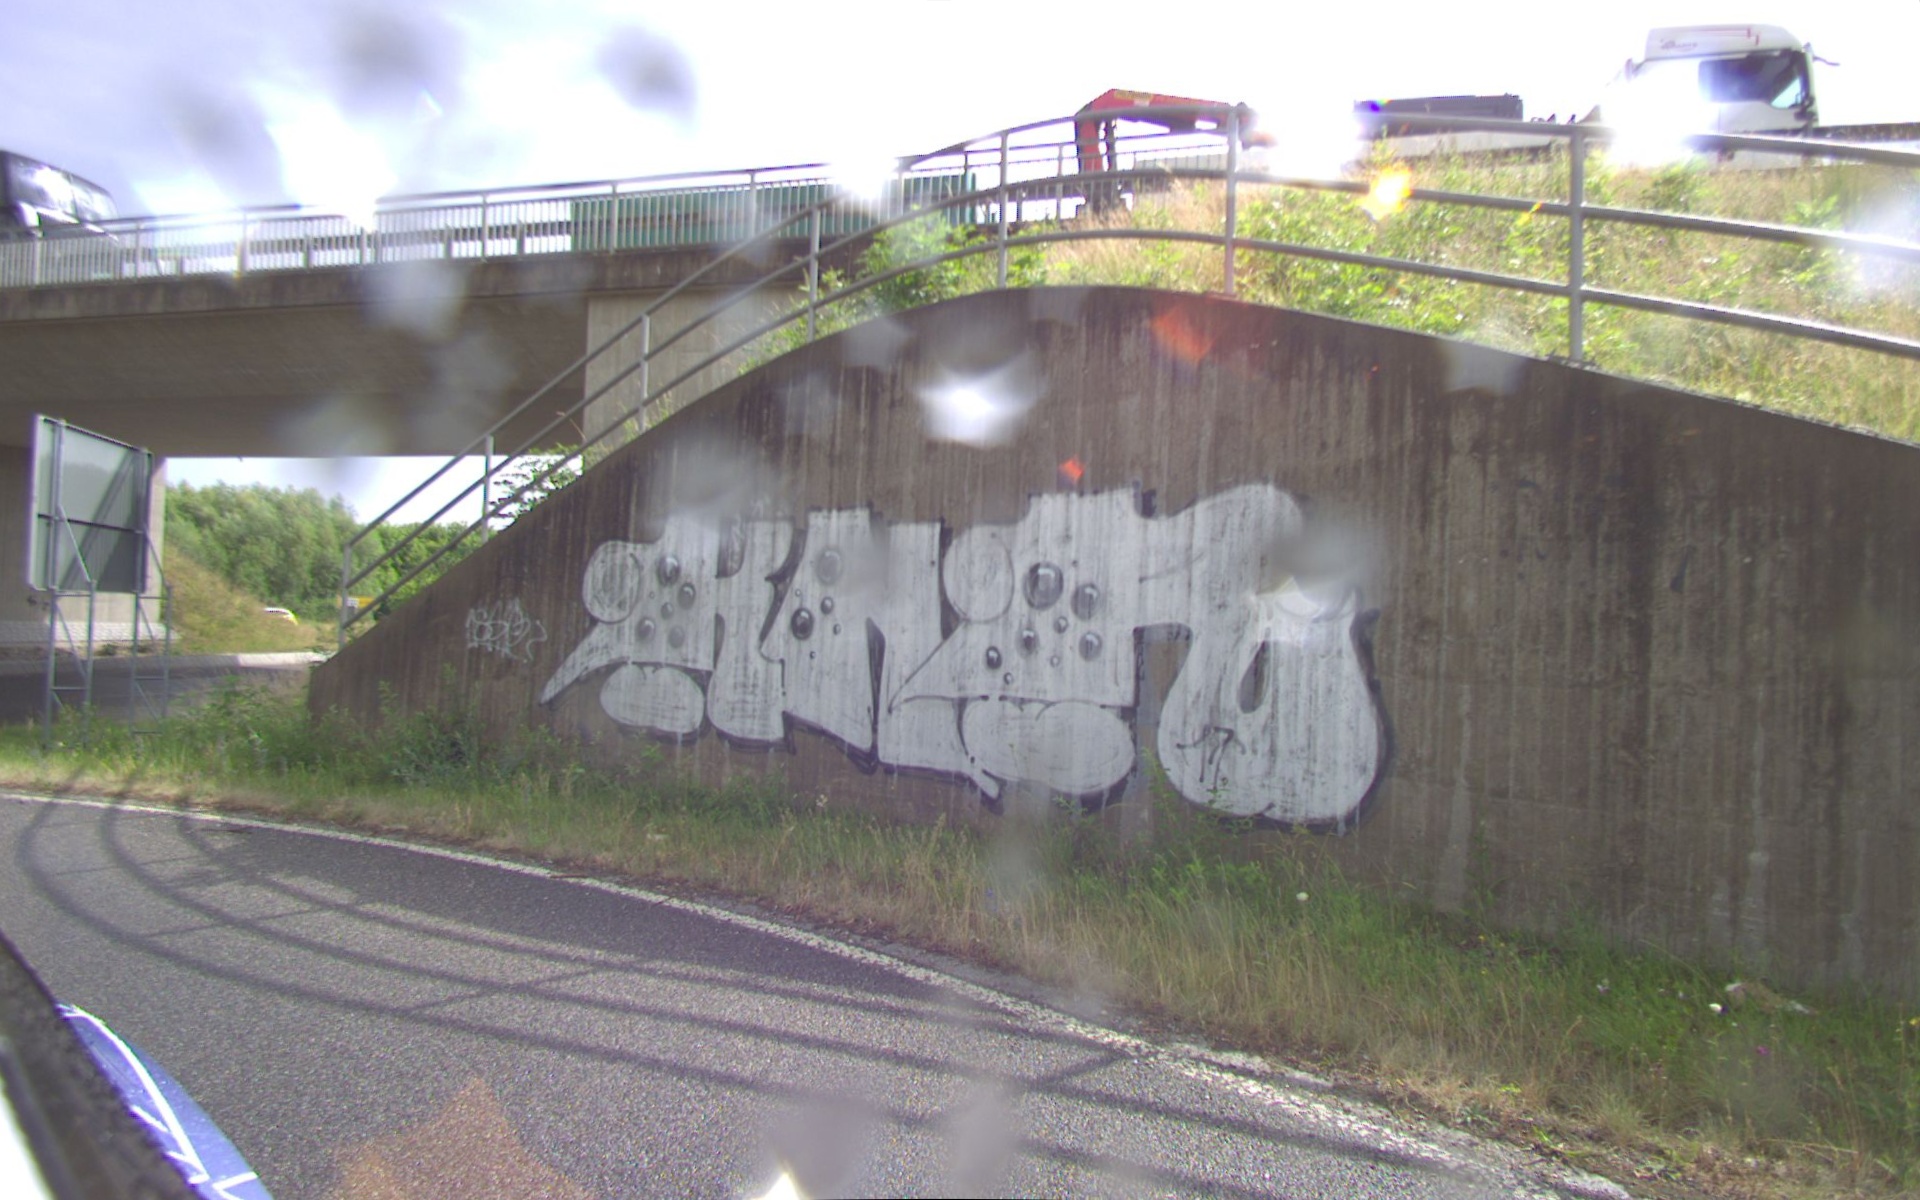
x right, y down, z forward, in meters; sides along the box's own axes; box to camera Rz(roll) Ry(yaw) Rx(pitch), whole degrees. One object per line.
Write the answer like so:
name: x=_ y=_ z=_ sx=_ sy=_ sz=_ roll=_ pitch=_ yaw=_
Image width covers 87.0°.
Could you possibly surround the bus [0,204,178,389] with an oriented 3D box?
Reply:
bus: x=-24.671 y=-6.507 z=22.191 sx=14.294 sy=3.103 sz=2.607 roll=2 pitch=0 yaw=8
